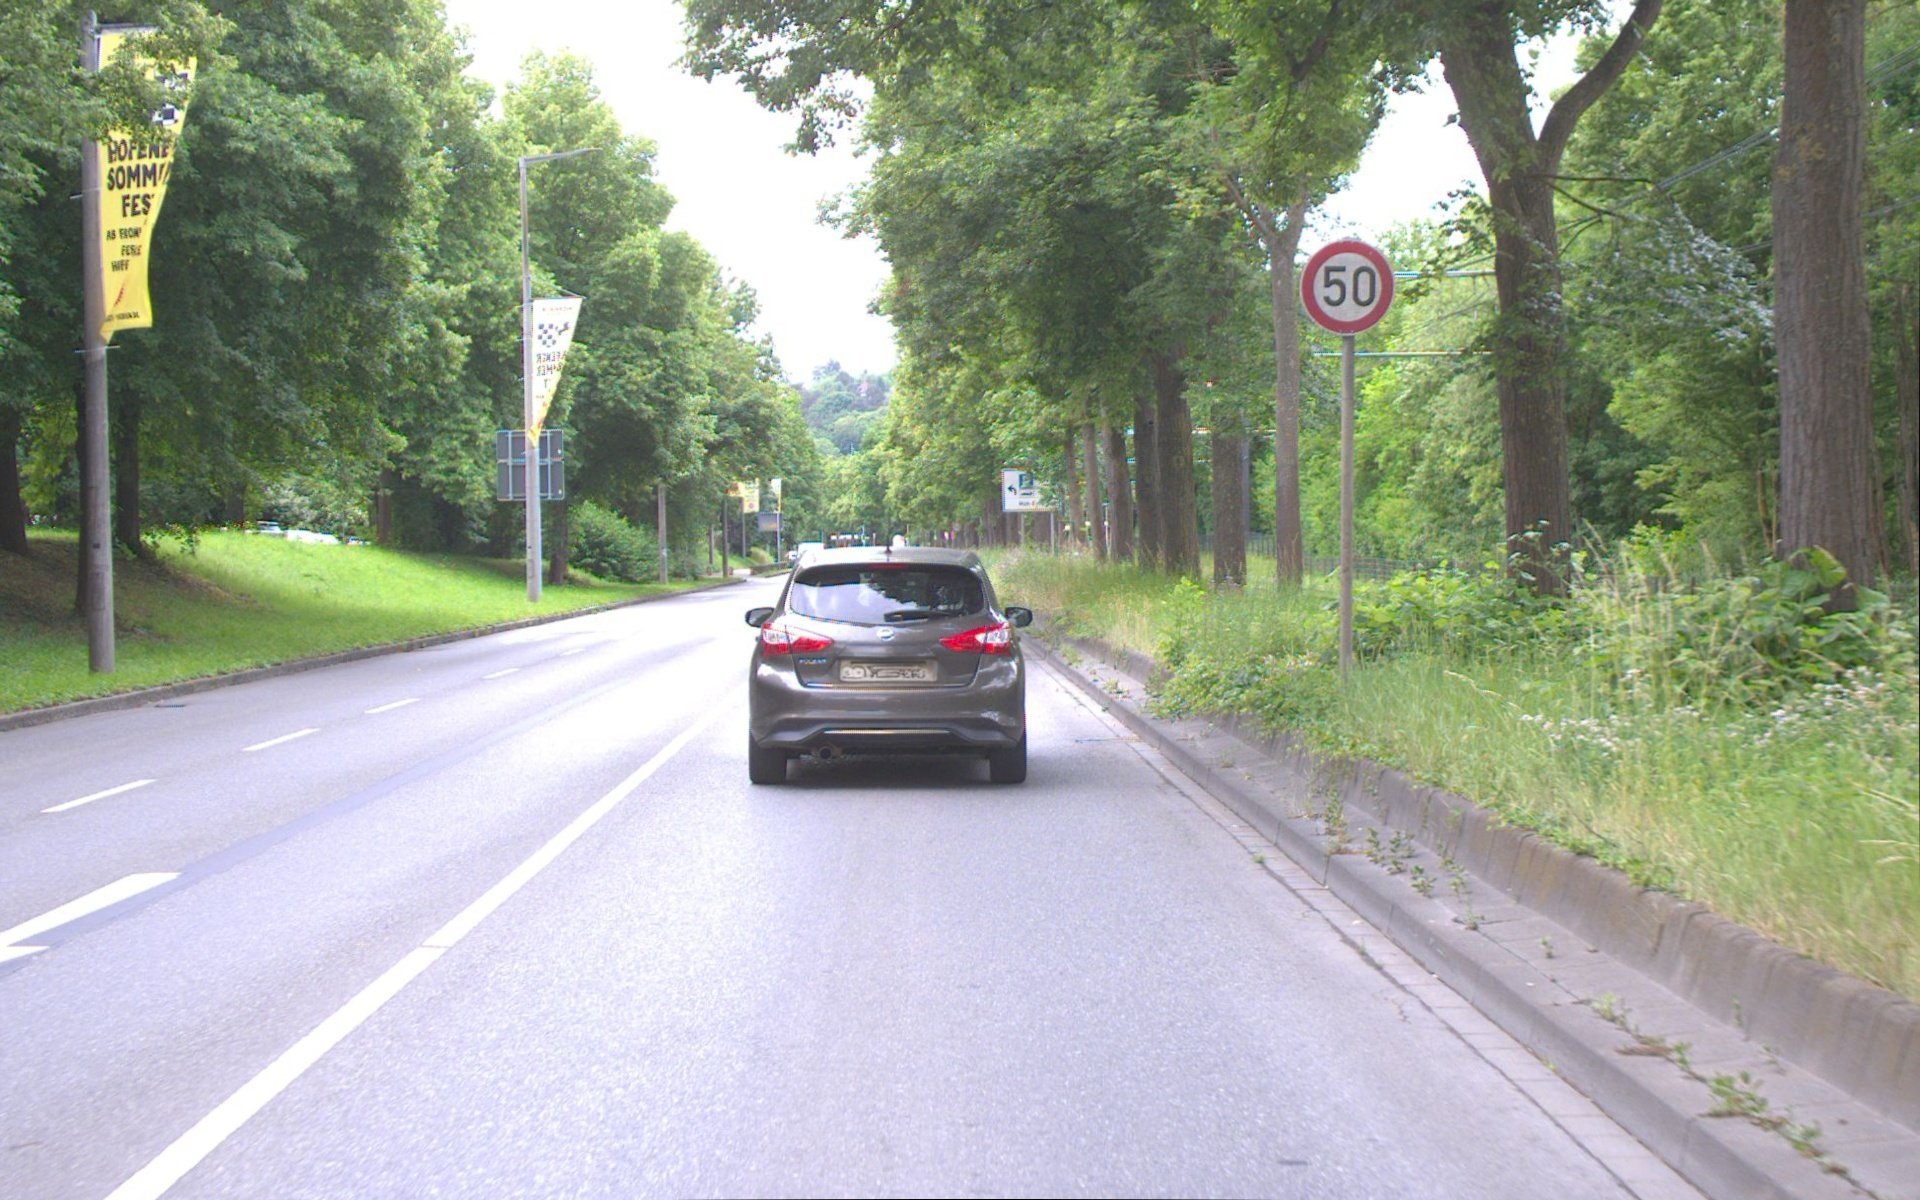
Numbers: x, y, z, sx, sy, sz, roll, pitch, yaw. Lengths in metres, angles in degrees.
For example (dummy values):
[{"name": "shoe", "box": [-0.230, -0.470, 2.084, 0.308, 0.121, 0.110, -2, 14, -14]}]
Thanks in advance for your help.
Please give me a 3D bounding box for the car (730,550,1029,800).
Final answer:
[{"name": "car", "box": [-0.465, 0.440, 23.105, 1.837, 1.523, 3.929, 0, 1, 1]}]
